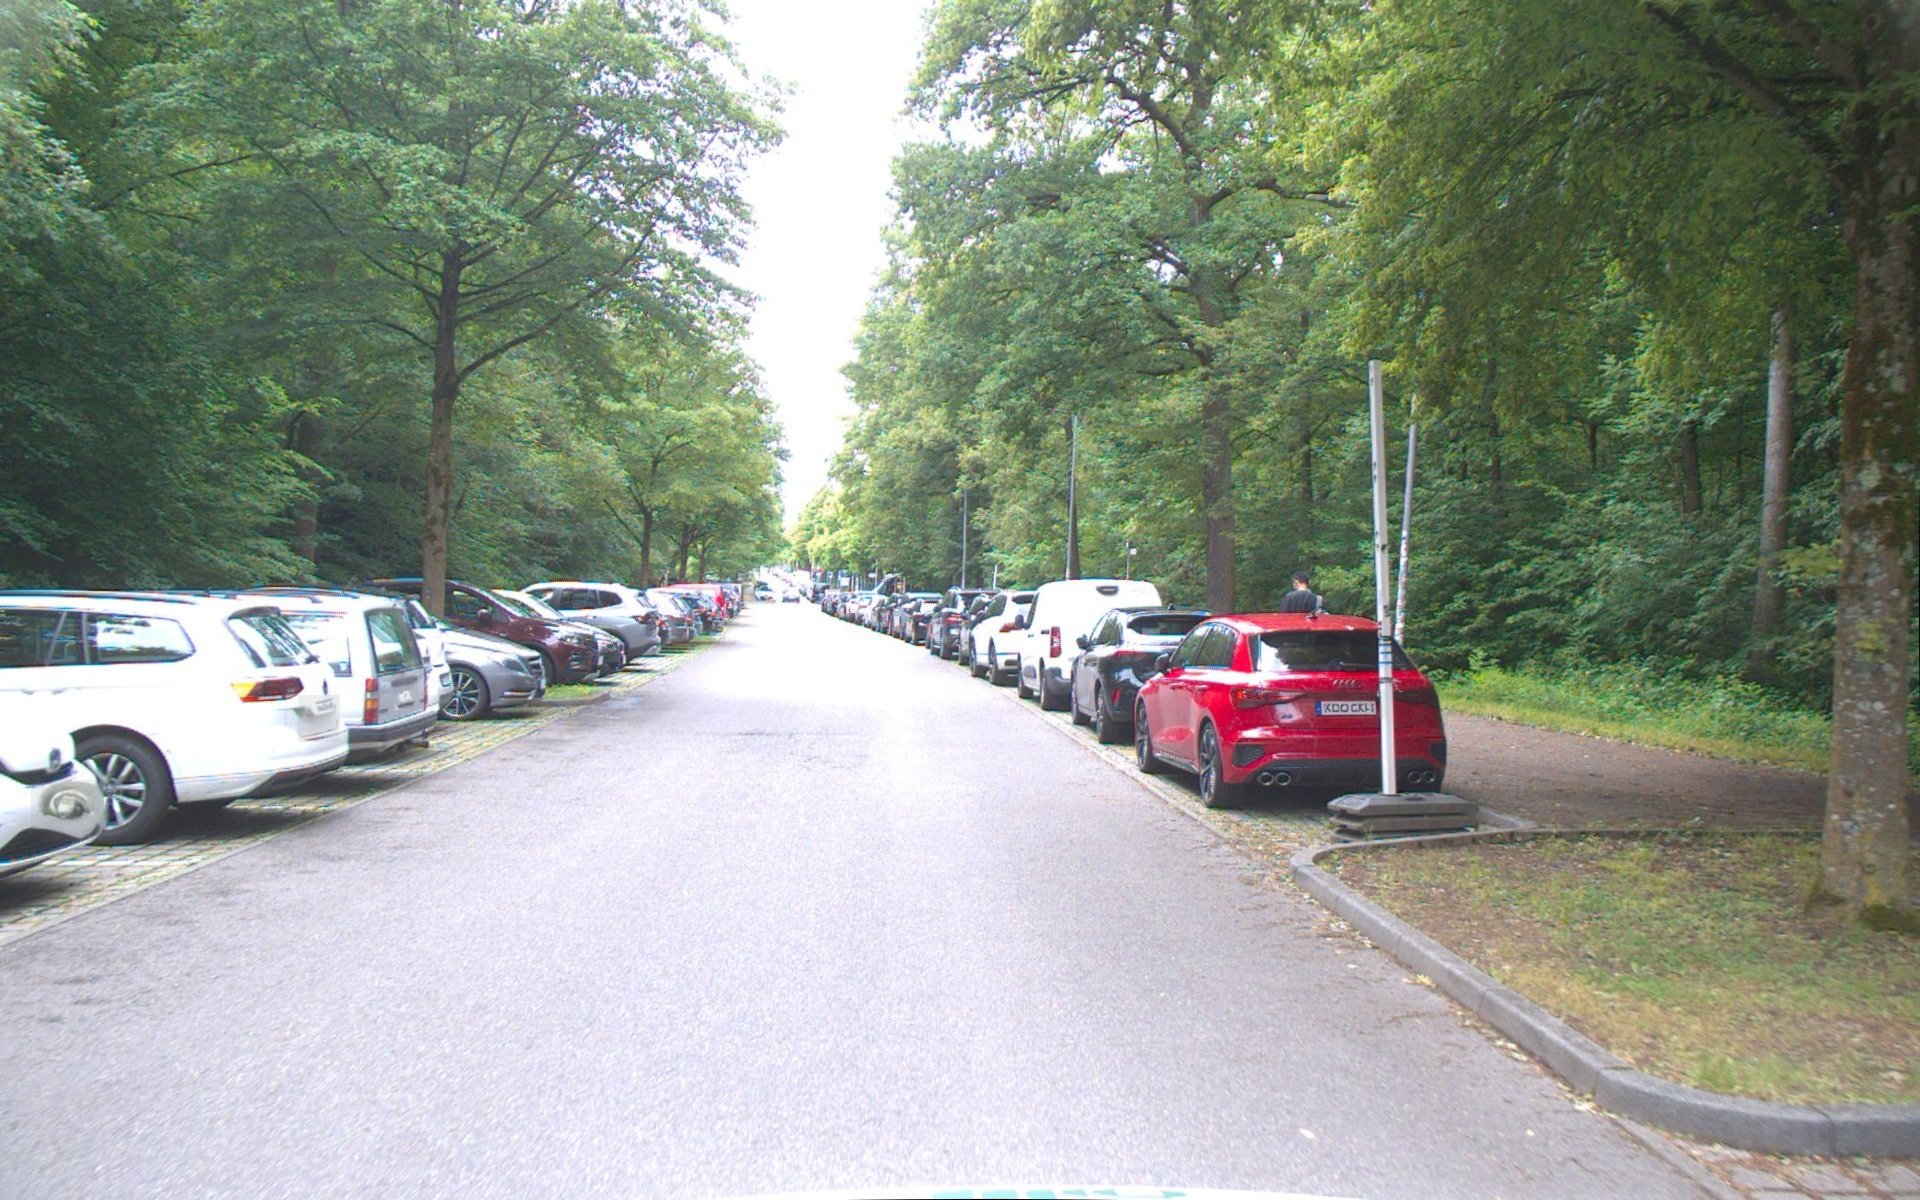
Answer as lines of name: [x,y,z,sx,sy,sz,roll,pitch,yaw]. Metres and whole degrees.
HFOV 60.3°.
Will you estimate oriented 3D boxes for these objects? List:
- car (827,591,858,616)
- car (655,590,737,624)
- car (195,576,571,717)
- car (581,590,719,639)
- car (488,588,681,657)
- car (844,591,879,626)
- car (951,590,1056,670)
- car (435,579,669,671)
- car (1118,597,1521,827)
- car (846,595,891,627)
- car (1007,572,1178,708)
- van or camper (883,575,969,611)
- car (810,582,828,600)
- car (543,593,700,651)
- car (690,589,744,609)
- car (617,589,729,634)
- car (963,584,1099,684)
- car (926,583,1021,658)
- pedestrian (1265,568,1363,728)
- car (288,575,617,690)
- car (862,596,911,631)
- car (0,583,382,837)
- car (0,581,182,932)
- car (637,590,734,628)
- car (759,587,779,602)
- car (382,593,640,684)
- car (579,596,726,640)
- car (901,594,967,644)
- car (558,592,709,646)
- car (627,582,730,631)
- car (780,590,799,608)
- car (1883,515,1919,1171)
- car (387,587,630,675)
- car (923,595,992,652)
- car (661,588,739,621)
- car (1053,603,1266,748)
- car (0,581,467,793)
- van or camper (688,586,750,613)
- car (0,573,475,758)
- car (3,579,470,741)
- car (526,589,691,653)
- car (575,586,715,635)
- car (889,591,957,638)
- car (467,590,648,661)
car: [-7.622,0.230,107.040,1.884,1.547,3.882,1,0,-6]
car: [-12.686,0.318,79.657,3.758,1.563,1.868,1,0,-6]
car: [-6.896,0.541,20.149,3.956,1.582,1.917,1,0,-6]
car: [-9.828,0.449,52.552,4.219,1.474,1.752,1,0,-12]
car: [-9.053,0.531,40.175,4.314,1.514,1.836,2,0,-5]
car: [-5.237,0.420,87.681,1.678,1.758,3.995,1,0,-6]
car: [0.898,0.612,36.637,1.717,1.635,4.441,1,0,-6]
car: [-7.939,0.478,32.551,4.142,1.661,2.027,2,0,-5]
car: [2.687,0.760,13.696,1.954,1.505,4.968,1,0,-4]
car: [-4.568,0.525,81.976,1.691,1.520,3.763,1,0,-11]
car: [1.858,0.527,24.617,1.711,1.811,4.546,1,0,-6]
van or camper: [-3.063,-0.655,148.134,7.219,2.938,2.634,1,3,-21]
car: [-13.786,-0.882,161.433,1.597,1.440,3.406,2,3,-7]
car: [-9.181,0.581,45.152,4.031,1.506,1.994,1,0,-7]
car: [-17.179,-0.074,116.834,3.523,1.385,1.818,1,0,-19]
car: [-10.423,0.421,60.037,3.915,1.557,1.995,1,0,-11]
car: [1.233,0.574,30.789,1.751,1.691,4.710,1,0,-7]
car: [0.270,0.477,42.323,1.853,1.777,4.942,1,0,-6]
pedestrian: [4.028,0.532,18.889,0.801,1.756,1.003,2,0,-4]
car: [-7.590,0.483,25.113,4.427,1.612,1.925,1,0,-5]
car: [-3.424,0.597,76.199,1.900,1.501,3.985,1,0,-8]
car: [-6.253,0.625,10.548,4.476,1.473,2.082,1,0,-8]
car: [-6.288,0.651,7.835,4.282,1.512,1.889,1,0,-6]
car: [-11.543,0.372,69.800,3.910,1.500,2.112,1,0,-6]
car: [-18.284,-0.505,158.288,1.705,1.182,3.408,2,3,-5]
car: [-7.461,0.635,27.818,3.910,1.388,1.784,2,0,-6]
car: [-10.151,0.585,54.878,4.642,1.367,1.984,1,0,-8]
car: [-0.875,0.578,52.870,1.606,1.503,4.144,1,0,-8]
car: [-9.354,0.530,47.604,4.029,1.456,1.962,1,0,-5]
car: [-11.022,0.246,64.986,3.913,1.848,2.110,1,0,-9]
car: [-16.298,-0.129,157.766,1.658,1.440,3.149,2,3,-7]
car: [4.602,0.677,3.525,4.180,1.695,1.957,1,0,-2]
car: [-8.161,0.543,30.187,3.943,1.490,1.797,1,0,-3]
car: [-0.116,0.634,47.888,1.568,1.530,4.085,1,0,-6]
car: [-13.649,0.226,86.917,3.910,1.669,1.732,1,0,-6]
car: [2.192,0.790,19.306,1.691,1.447,4.281,1,0,-4]
car: [-6.350,0.626,12.891,4.472,1.512,1.868,1,0,-4]
van or camper: [-18.627,-0.053,127.880,4.410,1.900,1.908,1,3,-21]
car: [-6.922,0.557,15.063,4.474,1.512,1.938,1,0,-6]
car: [-7.476,0.611,17.496,4.157,1.578,1.843,1,0,-10]
car: [-8.999,0.530,42.623,4.013,1.550,1.926,1,0,-9]
car: [-10.900,0.366,57.510,4.642,1.623,1.956,1,0,-8]
car: [-1.351,0.472,58.699,1.940,1.564,4.615,1,0,-7]
car: [-9.080,0.570,37.557,3.792,1.476,1.657,2,1,-8]
